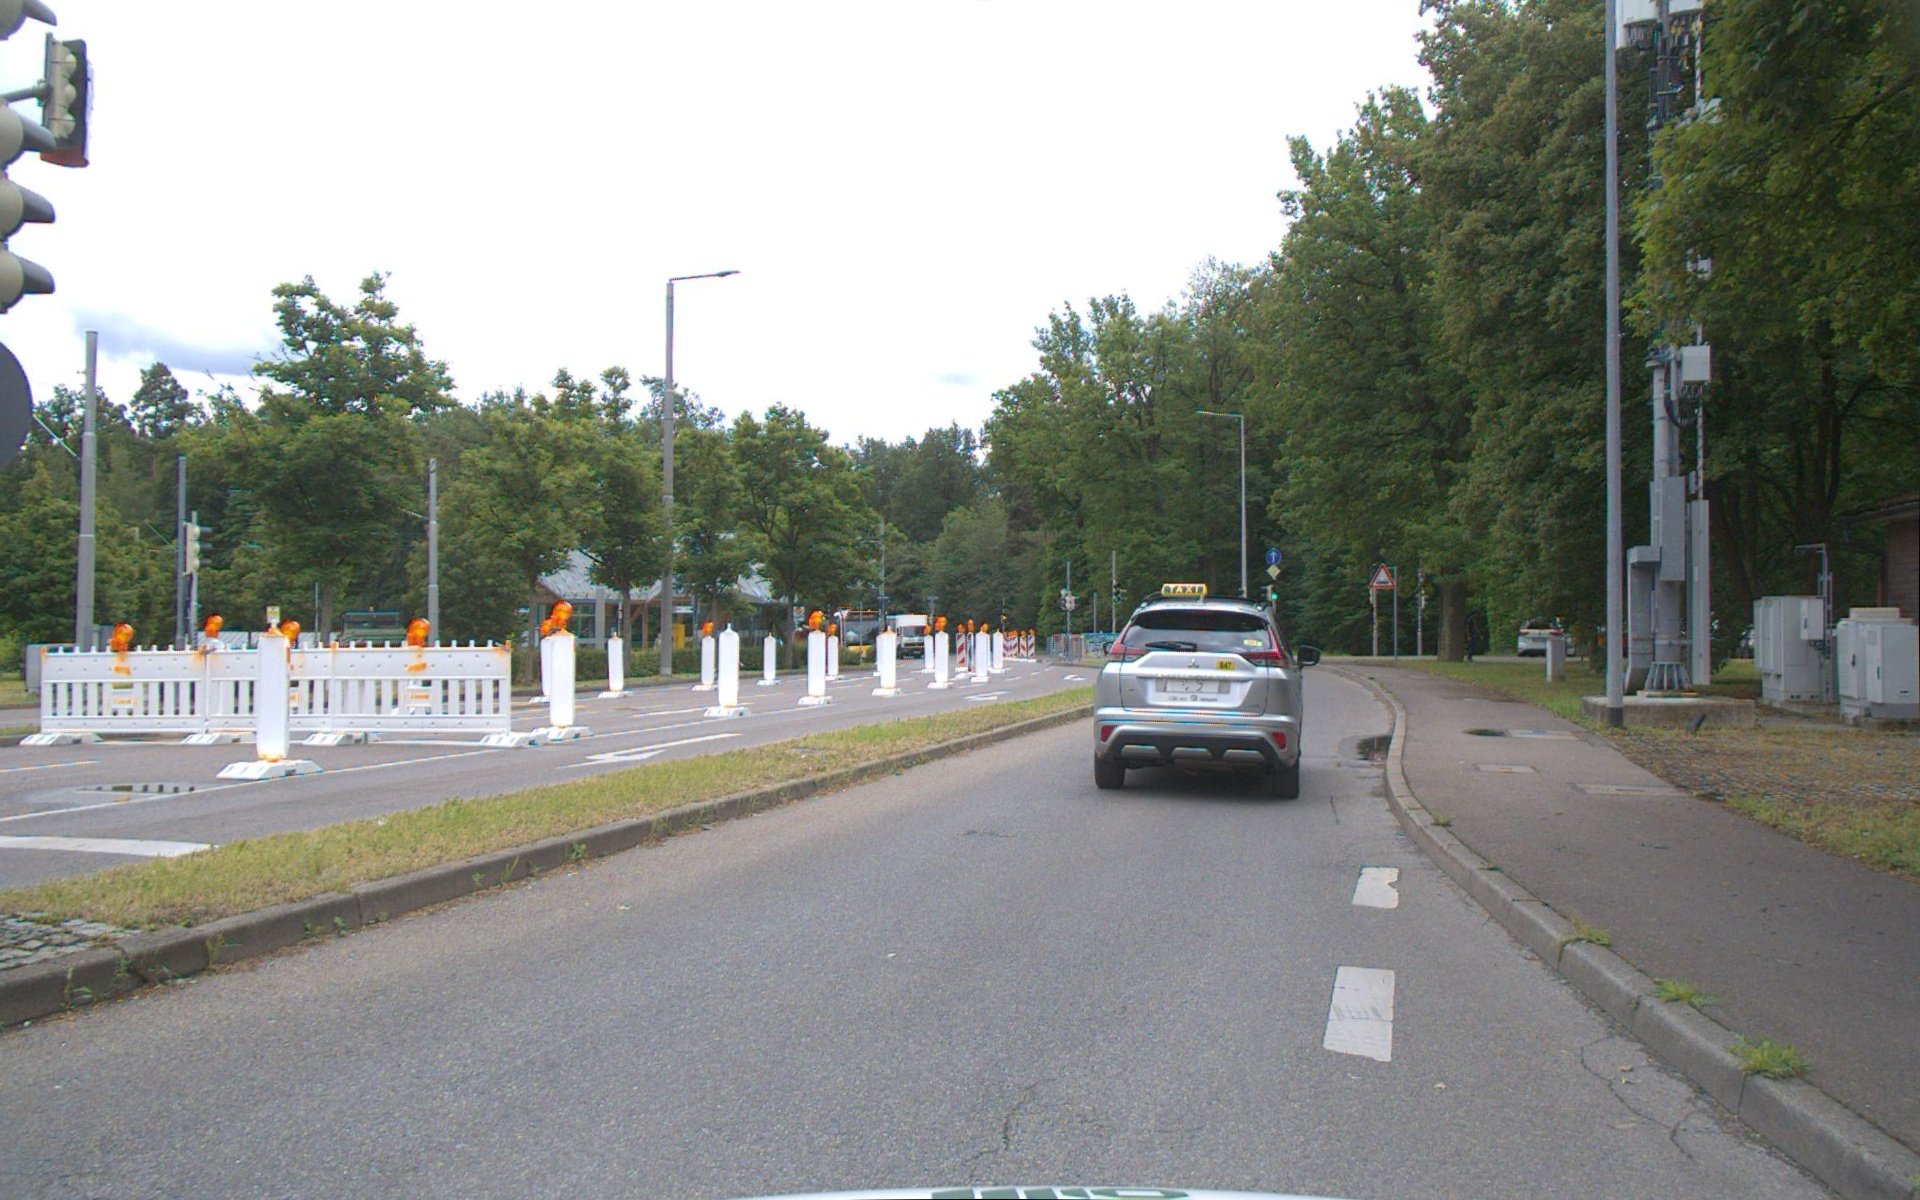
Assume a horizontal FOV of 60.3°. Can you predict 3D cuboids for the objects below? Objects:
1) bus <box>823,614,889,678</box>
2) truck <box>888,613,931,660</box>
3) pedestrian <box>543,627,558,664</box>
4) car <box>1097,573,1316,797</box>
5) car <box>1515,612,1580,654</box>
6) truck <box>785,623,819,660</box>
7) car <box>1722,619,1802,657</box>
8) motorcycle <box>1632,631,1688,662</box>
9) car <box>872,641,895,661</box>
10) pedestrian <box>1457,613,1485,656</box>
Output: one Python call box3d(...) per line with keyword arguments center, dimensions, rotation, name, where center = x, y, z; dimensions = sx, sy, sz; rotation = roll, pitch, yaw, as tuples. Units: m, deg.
box3d(center=(-6.503, 2.729, 101.096), dimensions=(2.770, 3.666, 12.774), rotation=(0, -1, -9), name="bus")
box3d(center=(-3.810, 2.708, 123.058), dimensions=(2.436, 3.344, 8.506), rotation=(-1, -1, -6), name="truck")
box3d(center=(-18.410, 2.056, 74.351), dimensions=(0.488, 1.654, 0.553), rotation=(1, -1, -42), name="pedestrian")
box3d(center=(2.342, 0.737, 15.206), dimensions=(1.736, 1.779, 3.783), rotation=(0, -2, 11), name="car")
box3d(center=(22.850, 1.263, 64.234), dimensions=(1.799, 1.563, 3.994), rotation=(-1, -1, 28), name="car")
box3d(center=(-15.214, 4.044, 158.763), dimensions=(2.440, 3.345, 8.493), rotation=(-1, -3, -11), name="truck")
box3d(center=(29.938, 1.396, 61.815), dimensions=(1.523, 1.349, 4.003), rotation=(-1, -1, 8), name="car")
box3d(center=(24.366, 1.605, 57.590), dimensions=(1.790, 1.076, 0.615), rotation=(0, -1, 23), name="motorcycle")
box3d(center=(-6.274, 4.154, 135.971), dimensions=(1.527, 1.555, 3.819), rotation=(0, -1, -8), name="car")
box3d(center=(18.106, 1.219, 58.593), dimensions=(0.824, 1.532, 0.789), rotation=(-1, -1, 28), name="pedestrian")
